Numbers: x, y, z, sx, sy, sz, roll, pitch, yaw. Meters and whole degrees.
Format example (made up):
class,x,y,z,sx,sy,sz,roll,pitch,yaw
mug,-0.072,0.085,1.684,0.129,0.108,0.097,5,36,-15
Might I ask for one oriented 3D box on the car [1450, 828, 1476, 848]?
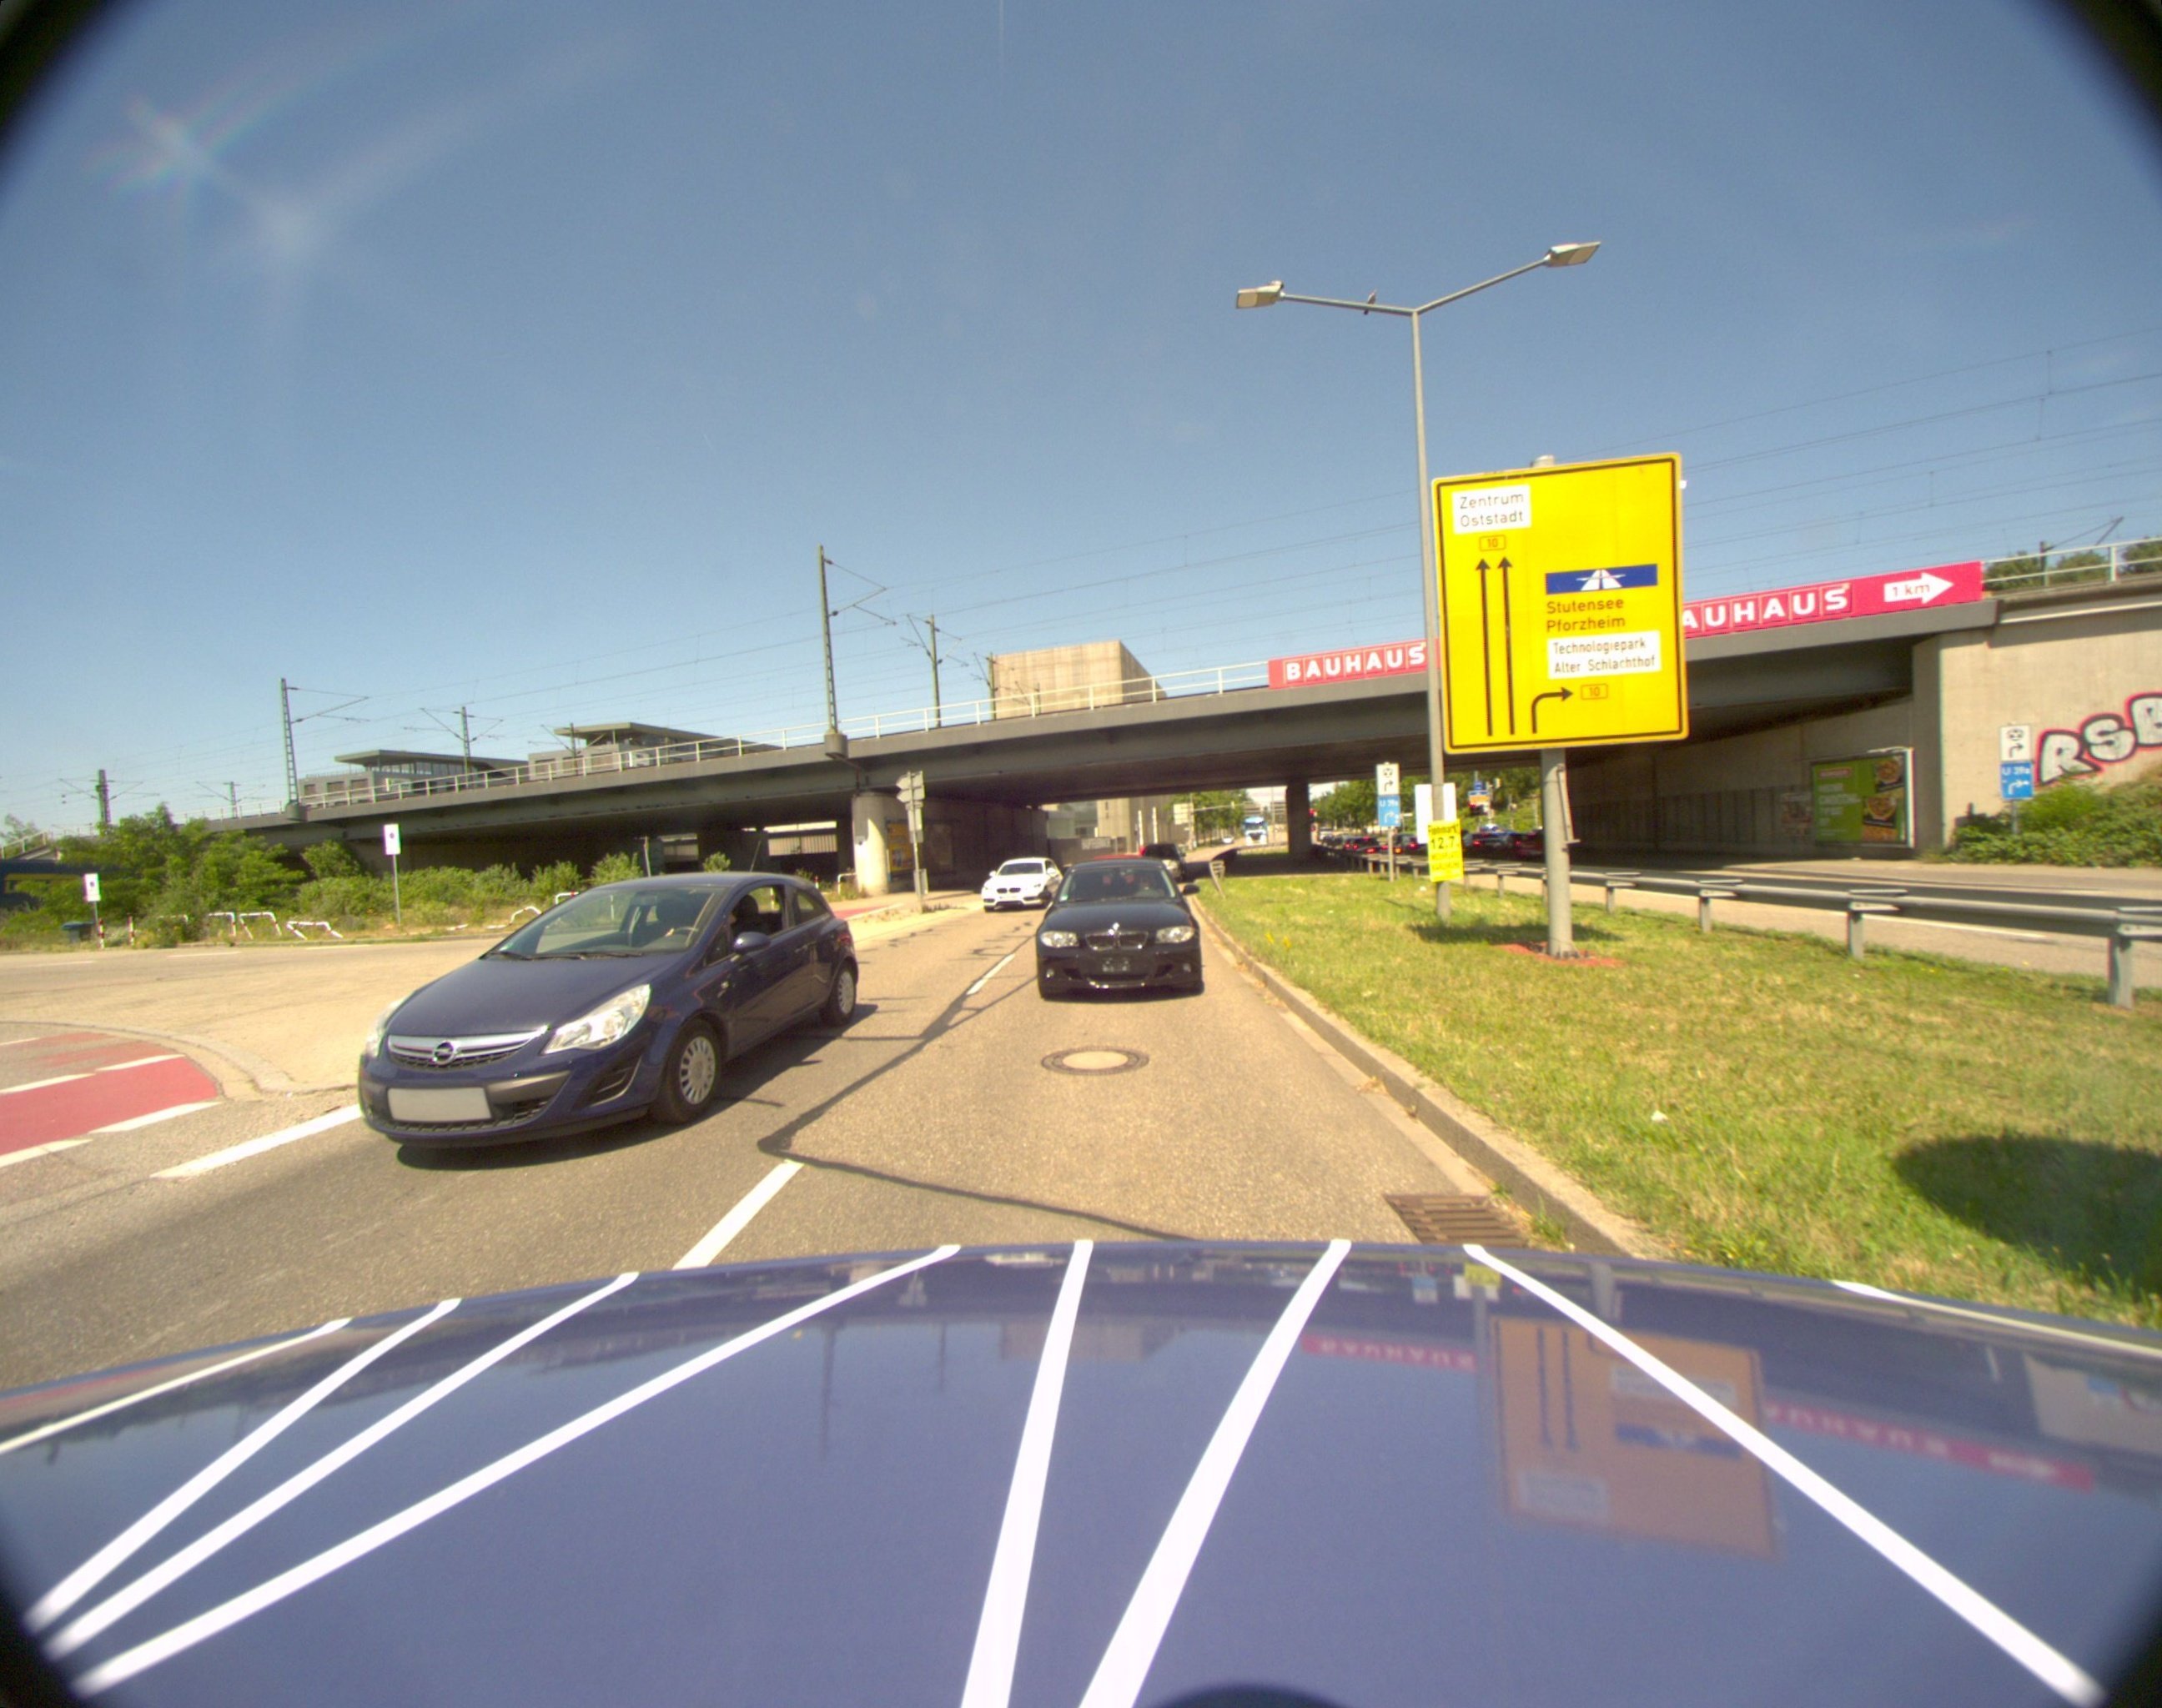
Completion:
class,x,y,z,sx,sy,sz,roll,pitch,yaw
car,24.971,-1.064,49.719,1.184,1.241,2.695,-2,1,21

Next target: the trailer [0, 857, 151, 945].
class,x,y,z,sx,sy,sz,roll,pitch,yaw
trailer,-53.178,2.301,38.322,2.582,4.101,10.032,-3,1,-17

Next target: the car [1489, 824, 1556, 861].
class,x,y,z,sx,sy,sz,roll,pitch,yaw
car,21.553,-0.578,37.285,1.774,1.658,4.018,-2,1,14

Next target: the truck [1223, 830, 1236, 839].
class,x,y,z,sx,sy,sz,roll,pitch,yaw
truck,24.802,-3.281,126.620,1.729,1.493,4.004,-2,1,15

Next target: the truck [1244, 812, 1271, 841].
class,x,y,z,sx,sy,sz,roll,pitch,yaw
truck,22.456,-3.429,96.463,3.017,3.398,6.572,-2,1,15

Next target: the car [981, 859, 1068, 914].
class,x,y,z,sx,sy,sz,roll,pitch,yaw
car,-1.564,0.891,22.438,1.761,1.435,4.054,-1,0,7

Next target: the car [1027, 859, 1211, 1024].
class,x,y,z,sx,sy,sz,roll,pitch,yaw
car,0.342,0.840,9.215,1.681,1.409,4.055,-3,1,-1

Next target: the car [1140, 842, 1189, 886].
class,x,y,z,sx,sy,sz,roll,pitch,yaw
car,3.564,0.375,32.180,1.845,1.686,3.701,-2,1,7

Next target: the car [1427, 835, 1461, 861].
class,x,y,z,sx,sy,sz,roll,pitch,yaw
car,18.427,-0.330,38.642,1.269,1.178,2.781,-2,1,21

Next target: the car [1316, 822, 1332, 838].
class,x,y,z,sx,sy,sz,roll,pitch,yaw
car,32.485,-3.242,101.623,1.996,2.002,4.004,-2,1,18

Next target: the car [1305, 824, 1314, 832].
class,x,y,z,sx,sy,sz,roll,pitch,yaw
car,62.907,-7.087,209.309,1.996,2.002,4.004,-2,1,15

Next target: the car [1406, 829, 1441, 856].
class,x,y,z,sx,sy,sz,roll,pitch,yaw
car,19.978,-0.712,44.427,1.617,1.468,3.437,-2,1,21

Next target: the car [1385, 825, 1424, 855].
class,x,y,z,sx,sy,sz,roll,pitch,yaw
car,21.690,-0.954,51.084,1.905,1.849,4.004,-2,1,17

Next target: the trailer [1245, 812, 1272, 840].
class,x,y,z,sx,sy,sz,roll,pitch,yaw
trailer,24.116,-3.712,102.779,2.960,3.354,13.907,-2,1,15

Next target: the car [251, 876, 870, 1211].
class,x,y,z,sx,sy,sz,roll,pitch,yaw
car,-3.050,0.978,5.585,1.650,1.436,3.892,-3,0,3

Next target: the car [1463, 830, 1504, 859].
class,x,y,z,sx,sy,sz,roll,pitch,yaw
car,22.709,-0.561,42.945,1.571,1.494,3.411,-2,1,21

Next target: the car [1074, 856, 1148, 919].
class,x,y,z,sx,sy,sz,roll,pitch,yaw
car,0.845,0.773,19.277,1.646,1.391,4.054,-1,0,5

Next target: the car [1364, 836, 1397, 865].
class,x,y,z,sx,sy,sz,roll,pitch,yaw
car,15.198,-0.204,38.638,1.410,1.311,3.265,-2,1,20

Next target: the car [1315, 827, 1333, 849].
class,x,y,z,sx,sy,sz,roll,pitch,yaw
car,24.396,-1.621,76.283,1.676,2.002,4.004,-2,1,18

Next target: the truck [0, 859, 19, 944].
class,x,y,z,sx,sy,sz,roll,pitch,yaw
truck,-51.705,2.310,33.269,2.595,4.015,6.197,-3,1,-16
